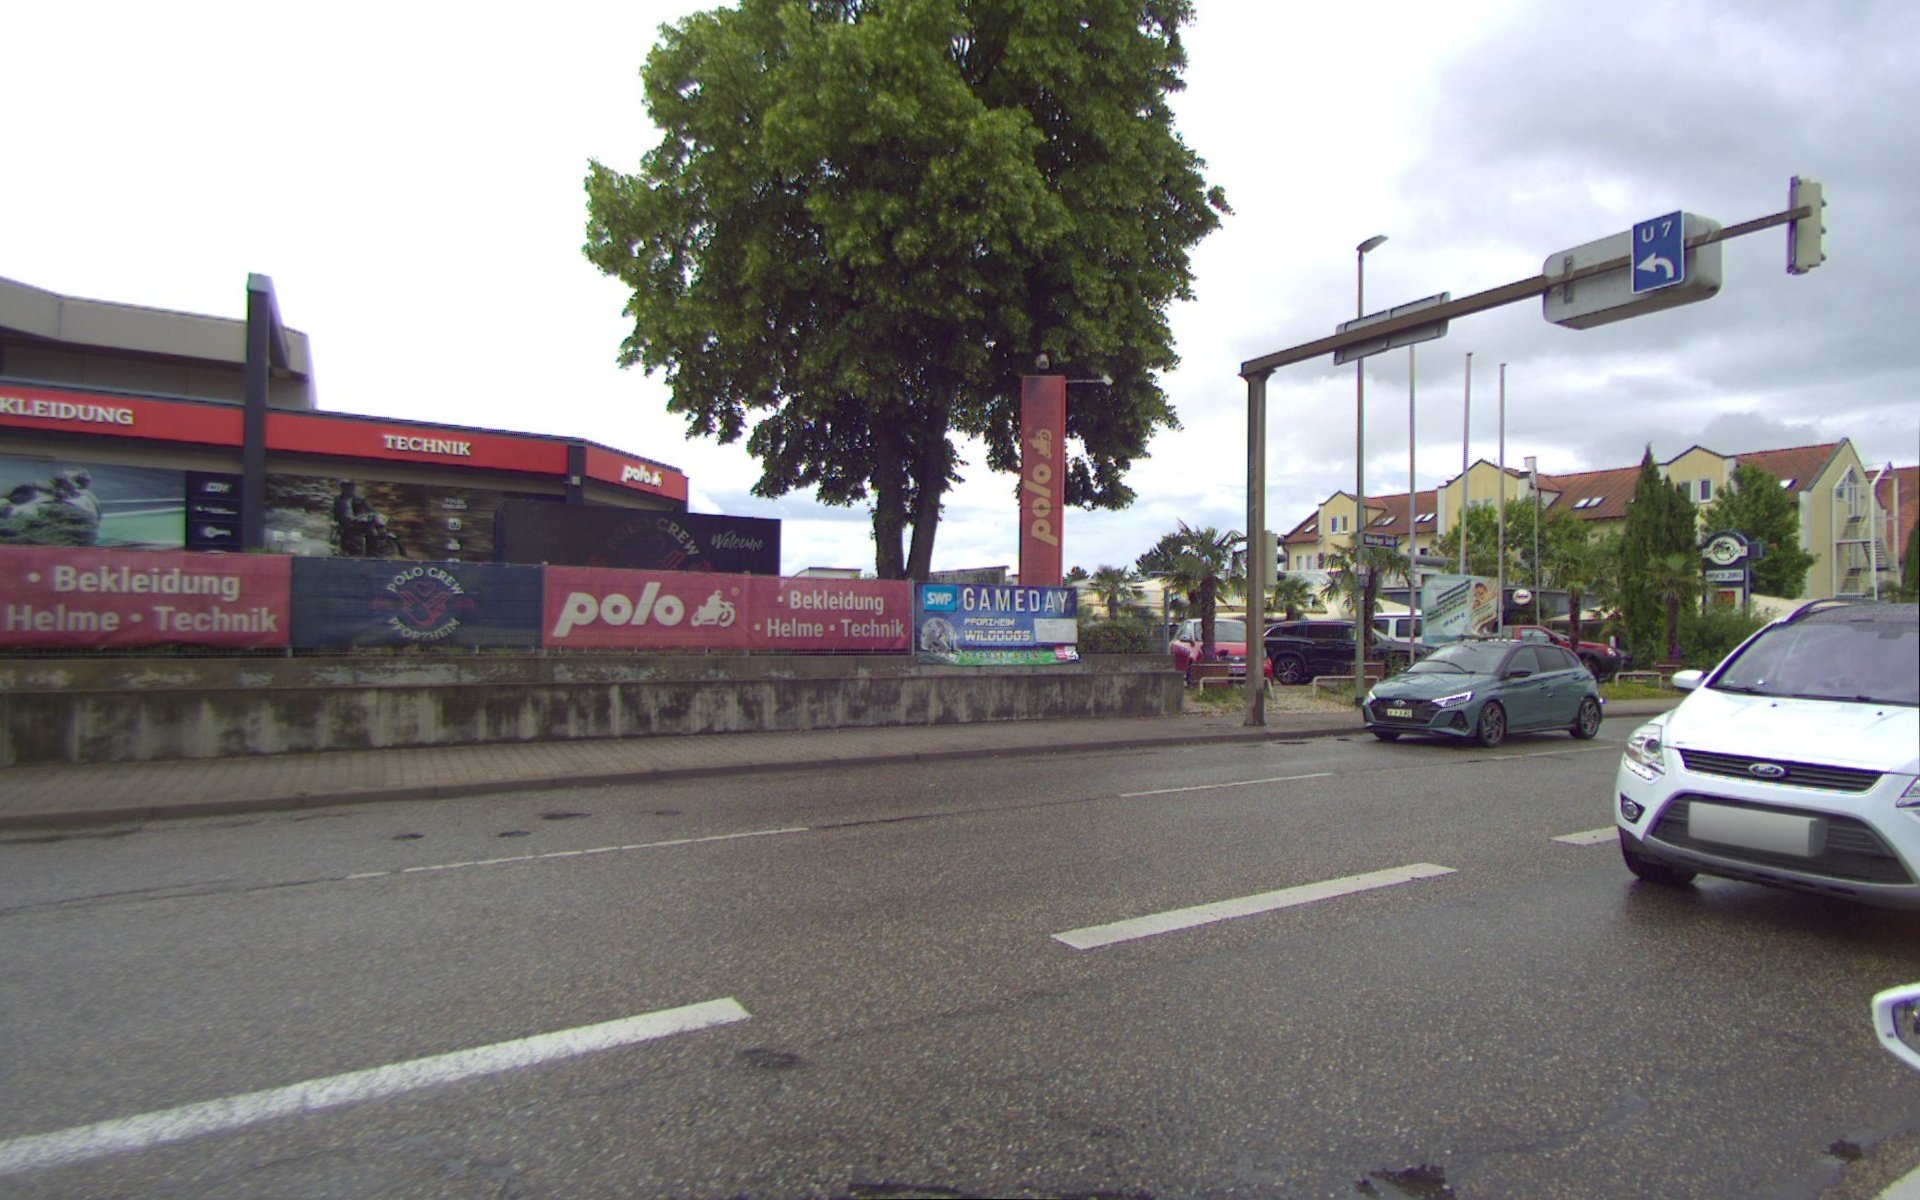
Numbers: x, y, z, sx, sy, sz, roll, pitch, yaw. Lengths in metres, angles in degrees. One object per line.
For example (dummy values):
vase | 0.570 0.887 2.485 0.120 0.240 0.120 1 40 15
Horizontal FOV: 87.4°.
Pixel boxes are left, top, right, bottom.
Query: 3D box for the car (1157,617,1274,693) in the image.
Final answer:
car | 5.623 1.213 22.507 1.633 1.523 3.619 1 -3 -1

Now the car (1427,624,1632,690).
car | 16.275 1.658 28.875 4.927 1.724 1.996 -2 -5 32

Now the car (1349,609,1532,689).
car | 13.150 1.356 27.564 4.324 2.040 1.996 -2 -3 32

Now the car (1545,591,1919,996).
car | 5.464 0.850 5.806 4.248 1.671 1.830 1 -1 -31

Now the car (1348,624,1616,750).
car | 7.731 1.184 14.806 3.954 1.639 1.668 1 -2 -31
